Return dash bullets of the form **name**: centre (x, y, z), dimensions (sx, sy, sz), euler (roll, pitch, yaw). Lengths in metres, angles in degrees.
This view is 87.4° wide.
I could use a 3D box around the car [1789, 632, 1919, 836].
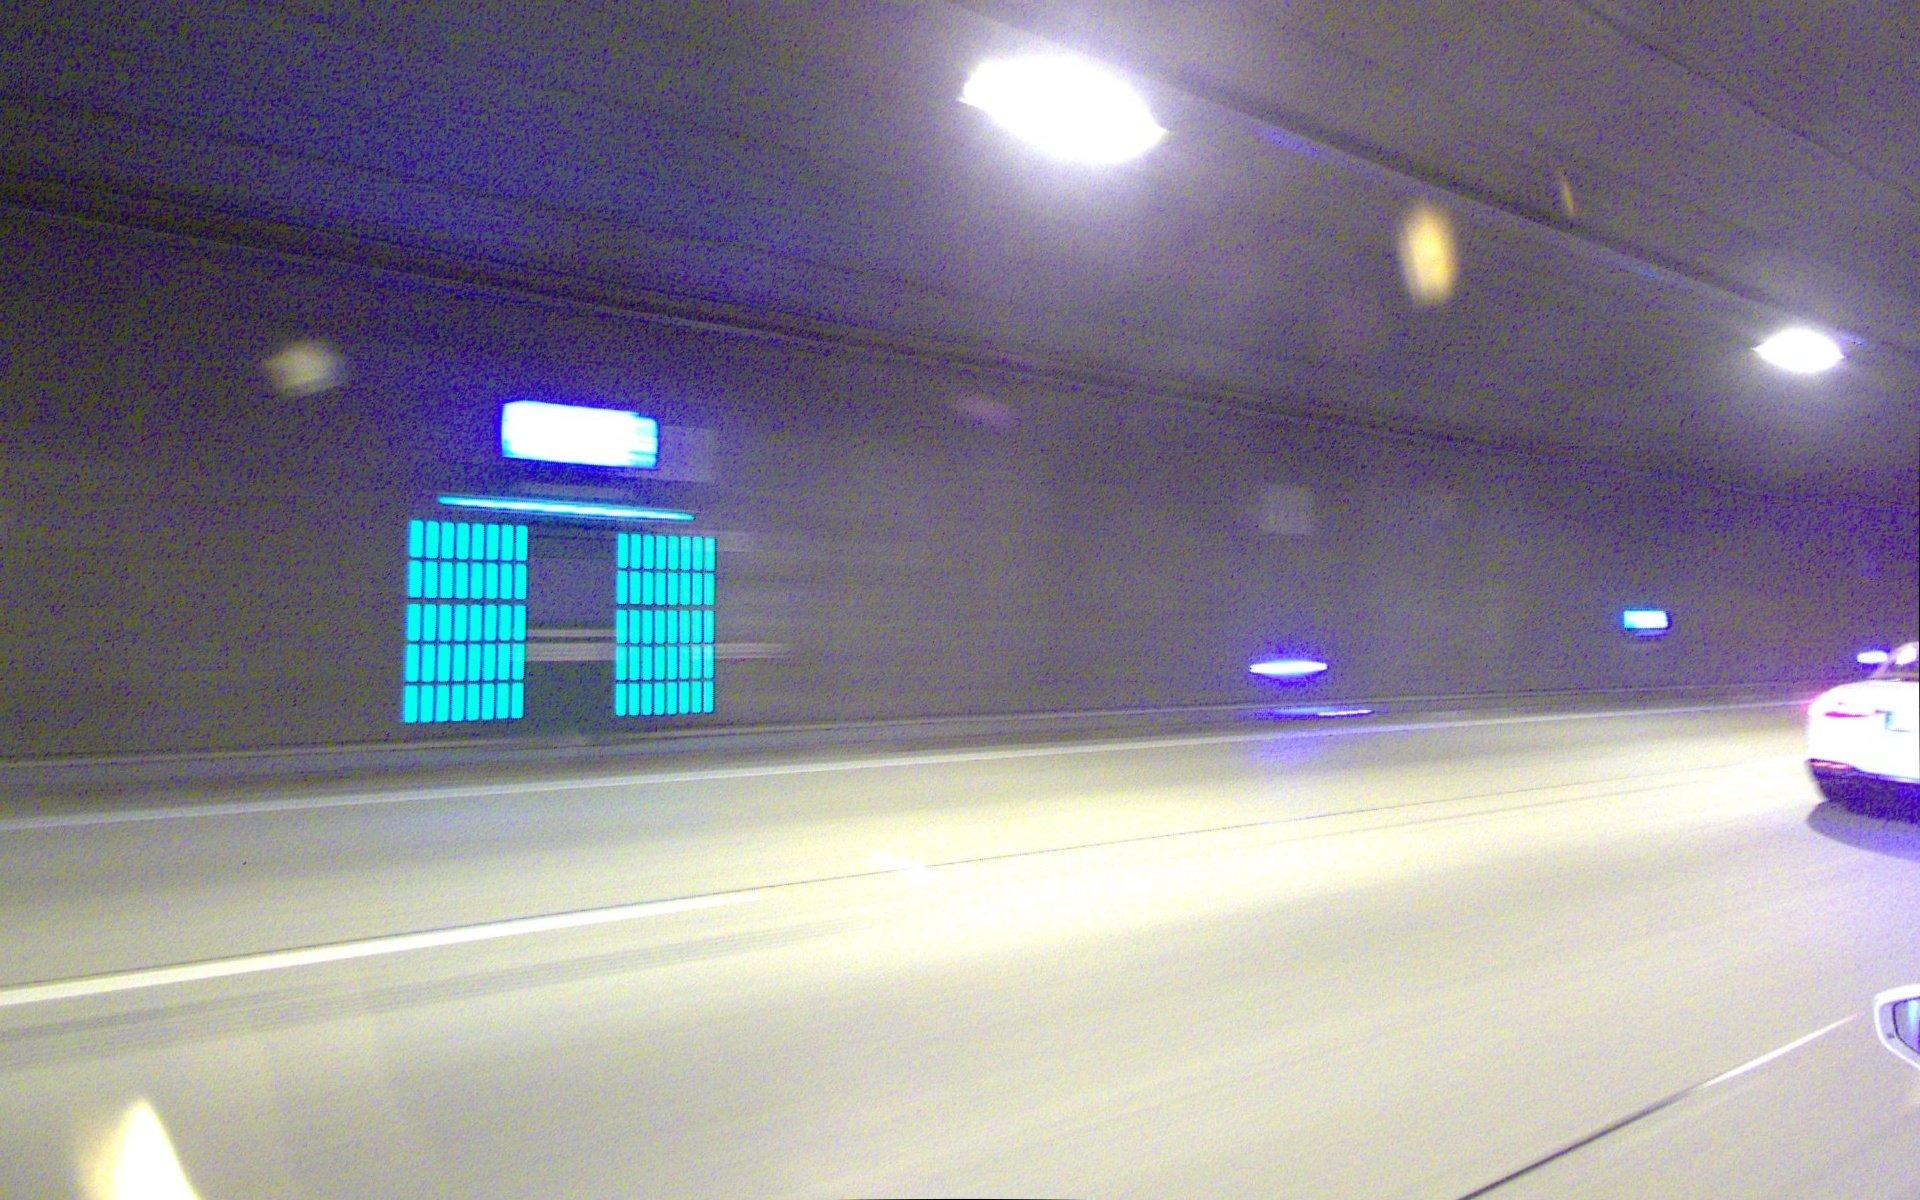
- **car**: centre (9.038, 1.004, 8.354), dimensions (5.000, 1.438, 1.694), euler (1, -1, -30)
